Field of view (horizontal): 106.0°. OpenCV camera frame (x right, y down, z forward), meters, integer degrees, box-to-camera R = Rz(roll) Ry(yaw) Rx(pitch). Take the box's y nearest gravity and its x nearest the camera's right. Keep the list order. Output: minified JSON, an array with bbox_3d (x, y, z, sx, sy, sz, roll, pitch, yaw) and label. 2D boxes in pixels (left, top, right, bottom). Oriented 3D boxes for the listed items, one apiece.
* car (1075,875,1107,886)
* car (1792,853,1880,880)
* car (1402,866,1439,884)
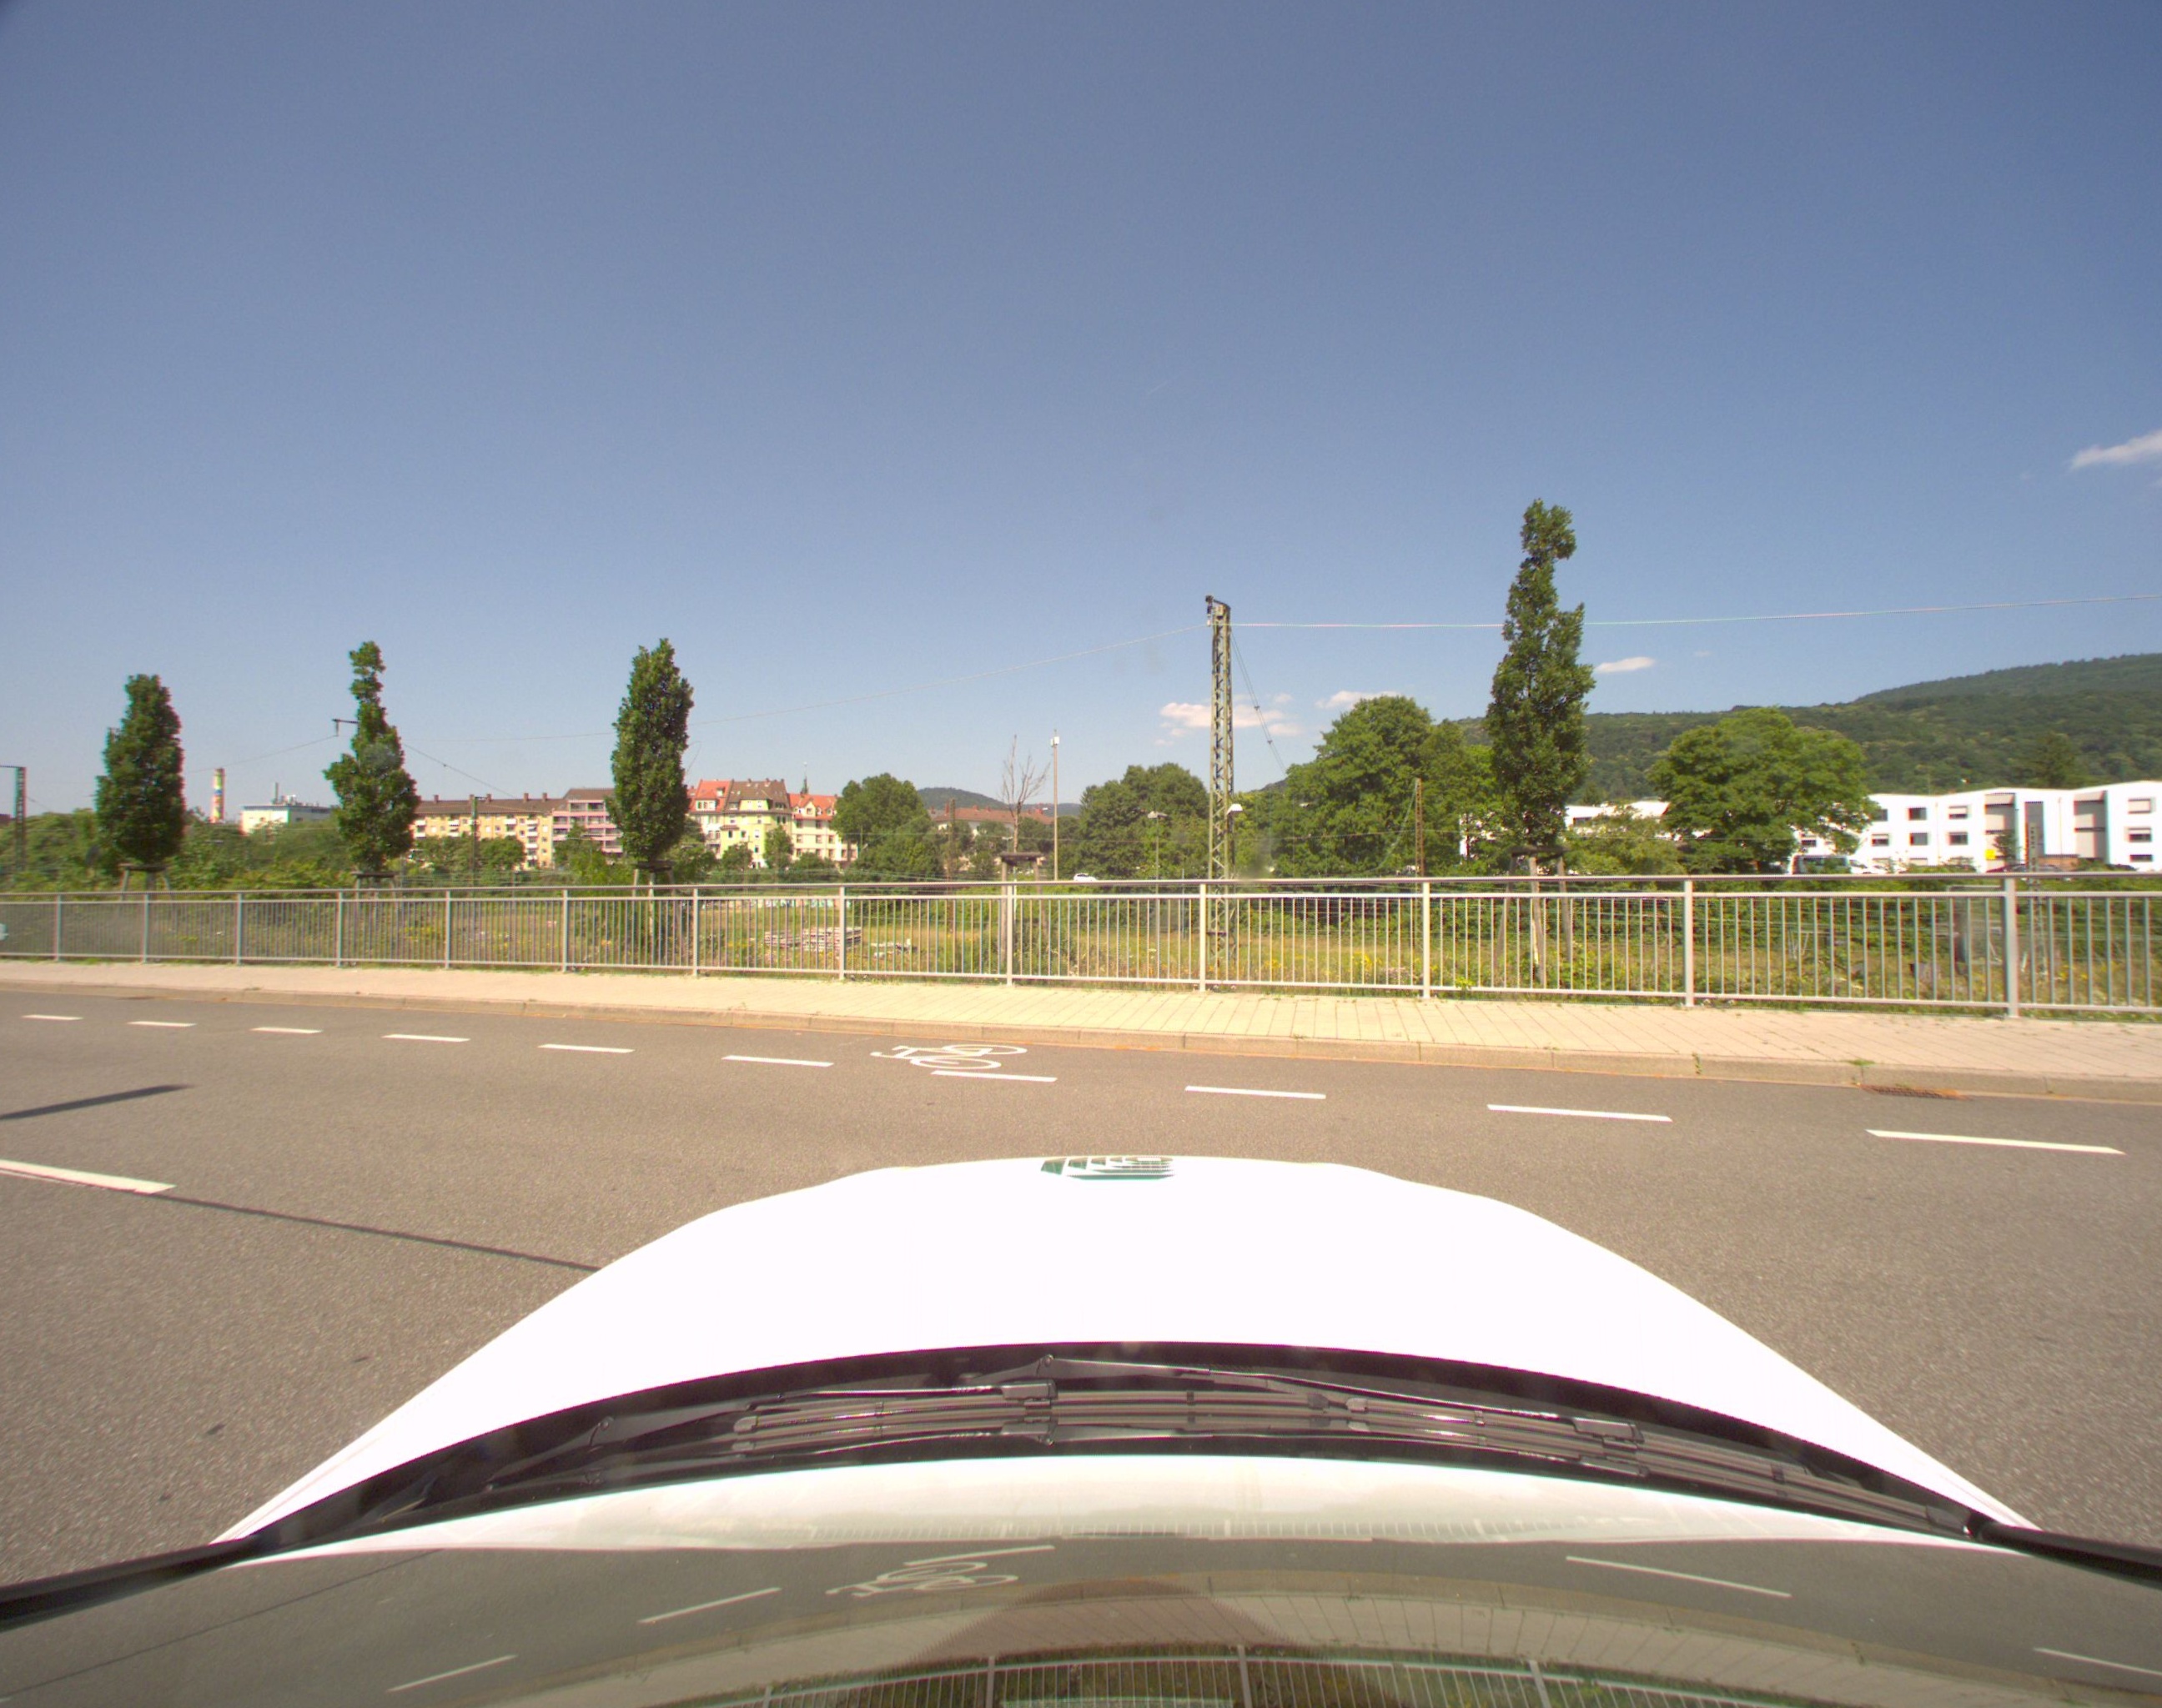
[{"bbox_3d":[1.342,3.643,111.535,1.876,1.367,4.263,1,-2,-44],"label":"car"},{"bbox_3d":[69.663,1.221,75.282,5.449,2.103,2.147,-3,-7,27],"label":"car"},{"bbox_3d":[41.779,2.620,100.279,3.882,2.015,1.766,-4,-7,34],"label":"car"}]
